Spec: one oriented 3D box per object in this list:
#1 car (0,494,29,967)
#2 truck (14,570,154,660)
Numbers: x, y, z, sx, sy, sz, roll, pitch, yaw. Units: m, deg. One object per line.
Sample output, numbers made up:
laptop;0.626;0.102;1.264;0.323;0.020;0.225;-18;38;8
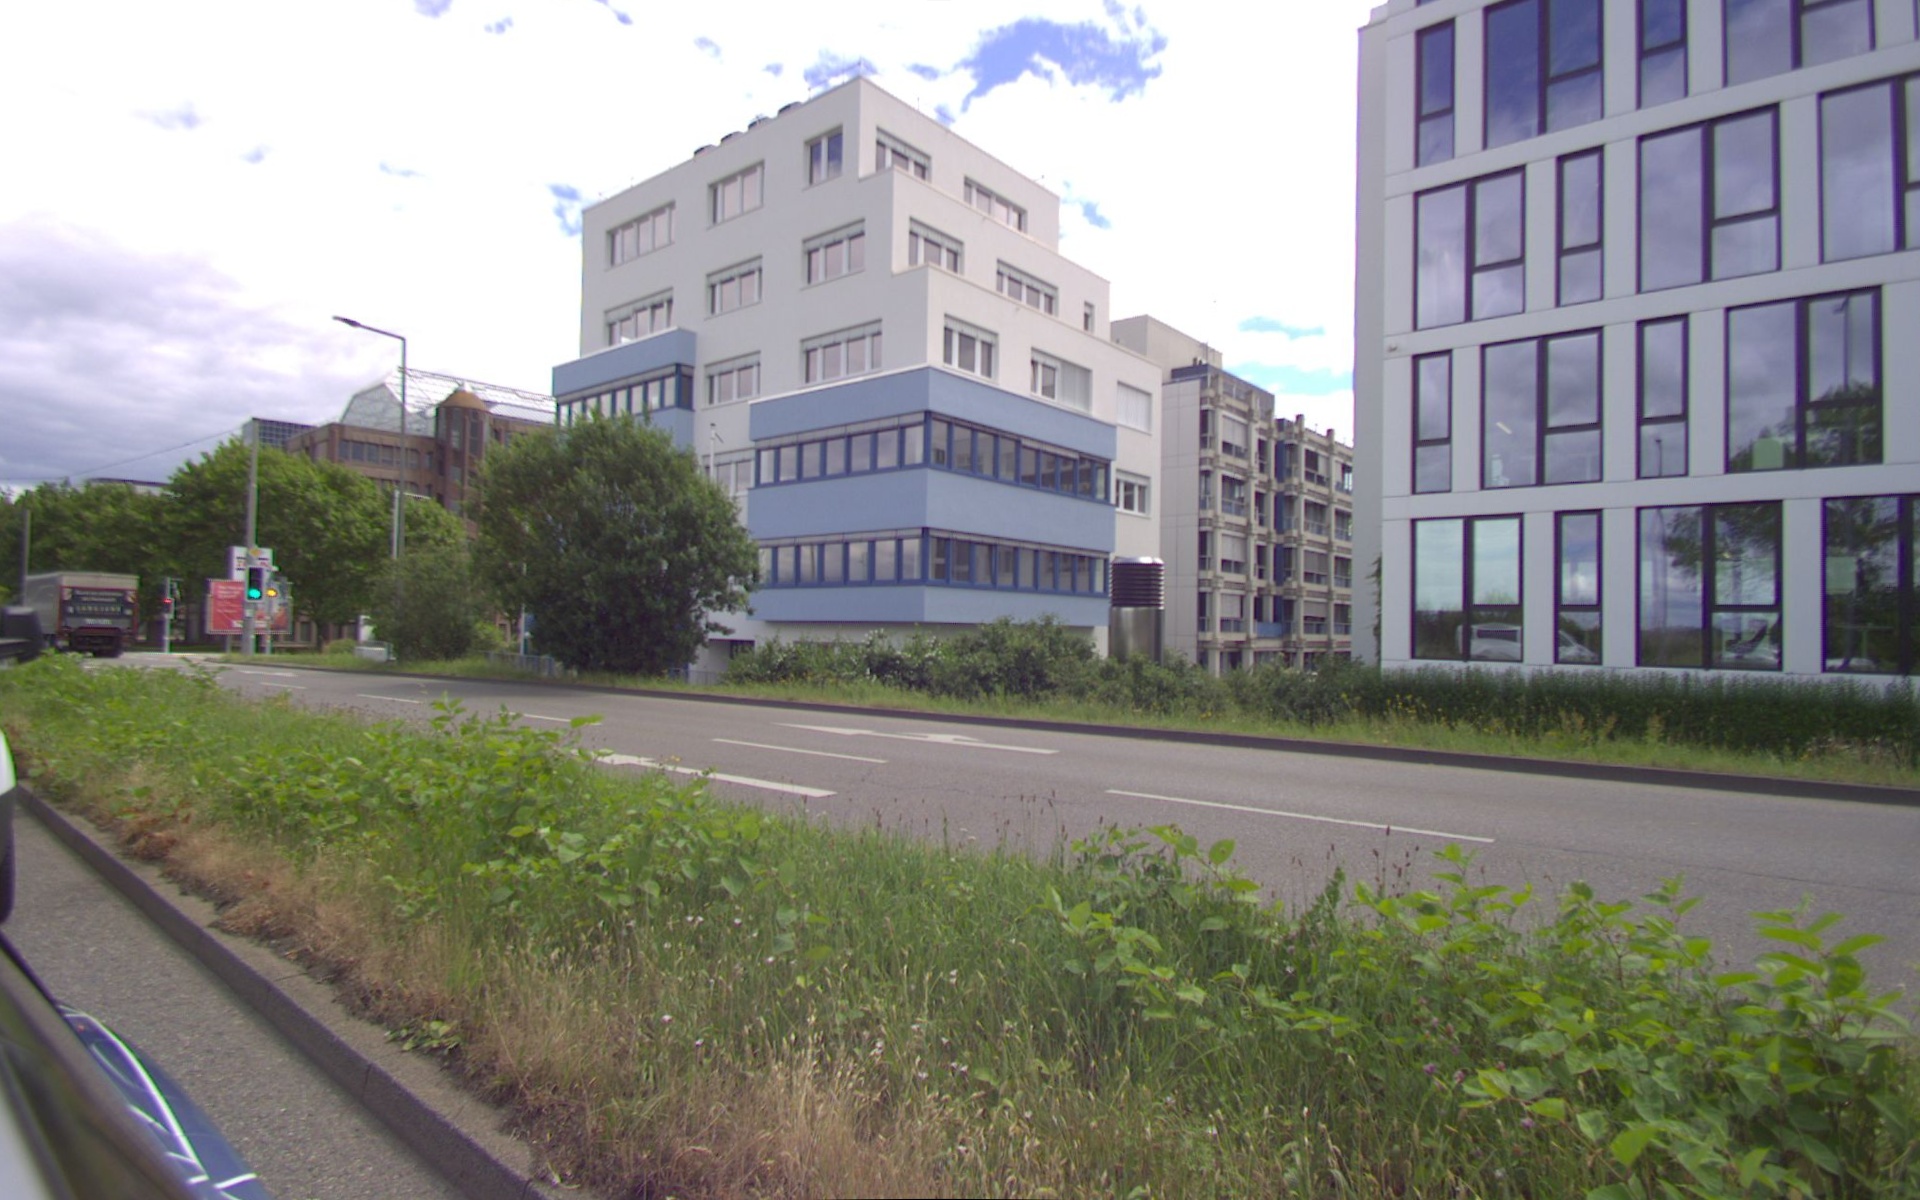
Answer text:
car;-6.470;0.577;5.209;5.052;1.965;1.942;-1;-1;41
truck;-38.372;0.692;44.185;9.519;3.545;3.135;-1;-2;40
